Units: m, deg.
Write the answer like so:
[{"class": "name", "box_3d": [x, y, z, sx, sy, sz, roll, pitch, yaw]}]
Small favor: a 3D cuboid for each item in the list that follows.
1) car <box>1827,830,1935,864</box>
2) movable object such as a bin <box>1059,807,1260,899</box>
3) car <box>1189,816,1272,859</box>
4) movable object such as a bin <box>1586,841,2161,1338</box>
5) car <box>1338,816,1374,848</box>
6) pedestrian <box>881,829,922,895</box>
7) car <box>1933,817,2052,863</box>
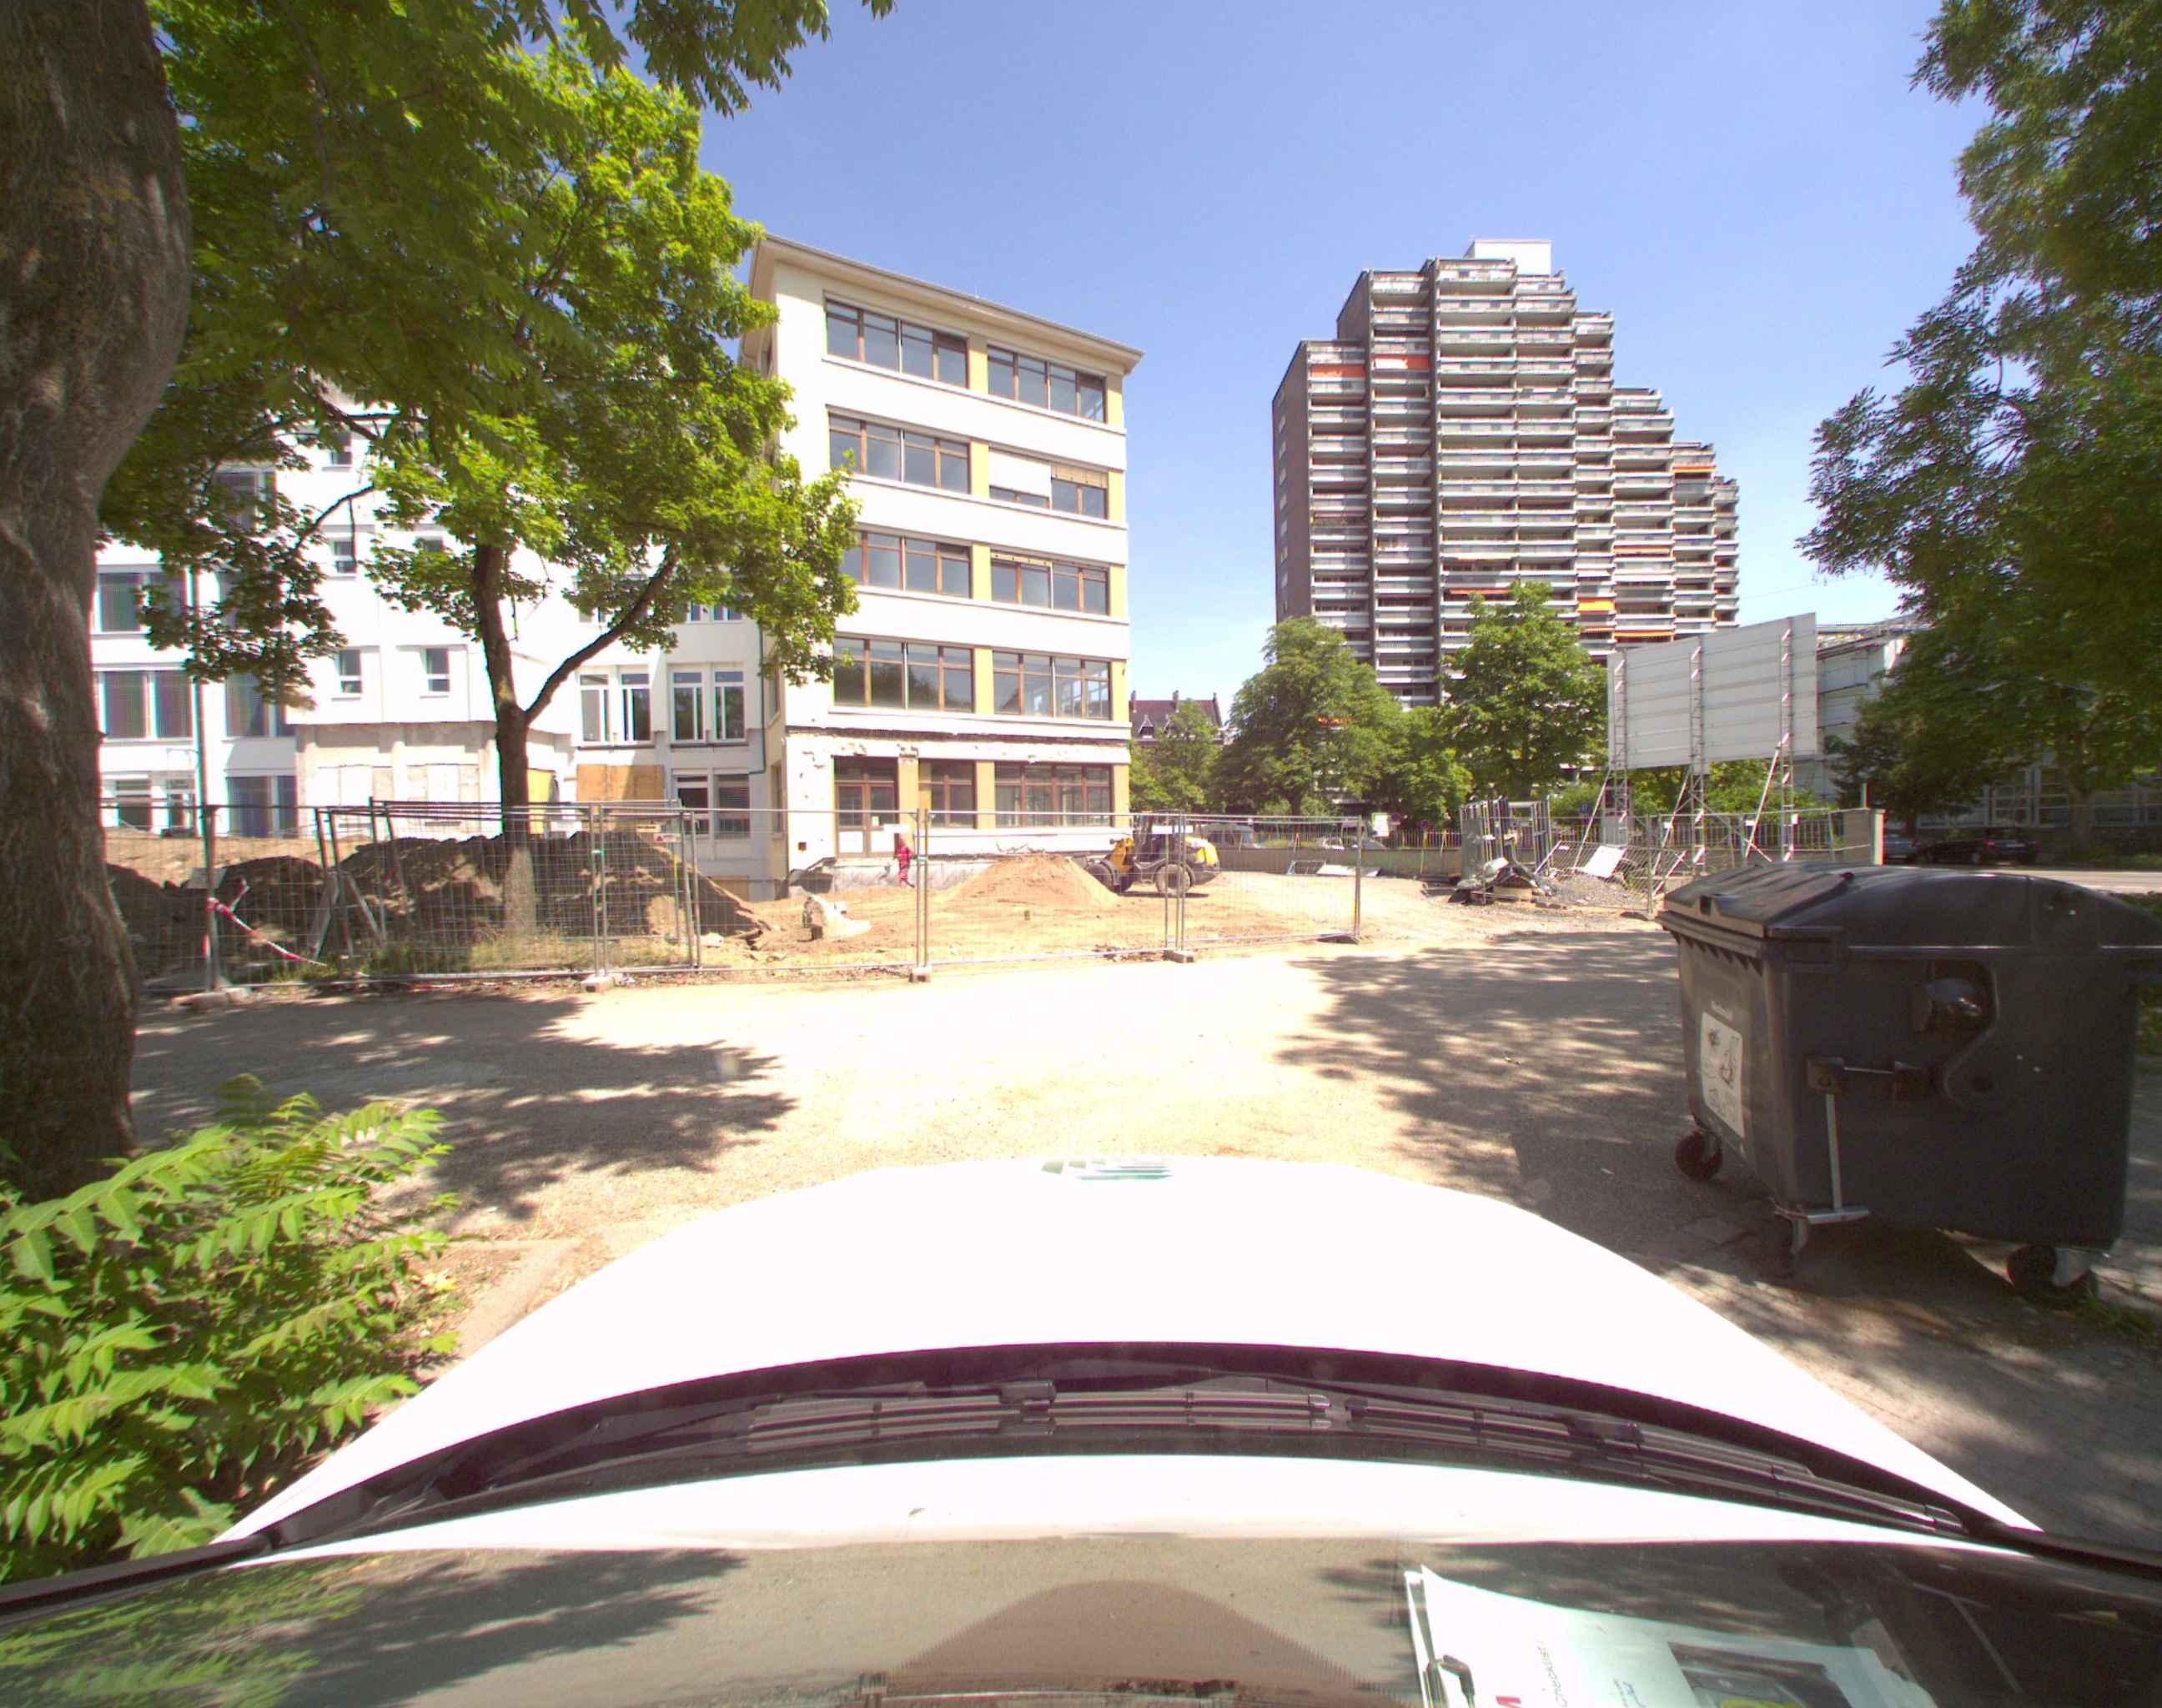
[{"class": "car", "box_3d": [33.723, -0.312, 34.481, 1.897, 1.310, 3.952, -1, 1, 22]}, {"class": "movable object such as a bin", "box_3d": [2.313, -0.083, 23.782, 5.358, 2.464, 2.380, 1, 1, 20]}, {"class": "car", "box_3d": [8.762, -0.937, 48.303, 2.005, 2.416, 5.196, -2, 1, -28]}, {"class": "movable object such as a bin", "box_3d": [2.881, 0.694, 3.102, 1.071, 1.458, 1.378, -1, 0, 2]}, {"class": "car", "box_3d": [20.339, -1.618, 60.167, 2.165, 2.258, 4.896, -1, 1, 23]}, {"class": "pedestrian", "box_3d": [-5.225, 0.213, 23.710, 0.987, 1.846, 0.910, -1, 0, -22]}, {"class": "car", "box_3d": [35.510, -0.548, 31.864, 1.992, 1.629, 3.955, -1, 1, 31]}]
